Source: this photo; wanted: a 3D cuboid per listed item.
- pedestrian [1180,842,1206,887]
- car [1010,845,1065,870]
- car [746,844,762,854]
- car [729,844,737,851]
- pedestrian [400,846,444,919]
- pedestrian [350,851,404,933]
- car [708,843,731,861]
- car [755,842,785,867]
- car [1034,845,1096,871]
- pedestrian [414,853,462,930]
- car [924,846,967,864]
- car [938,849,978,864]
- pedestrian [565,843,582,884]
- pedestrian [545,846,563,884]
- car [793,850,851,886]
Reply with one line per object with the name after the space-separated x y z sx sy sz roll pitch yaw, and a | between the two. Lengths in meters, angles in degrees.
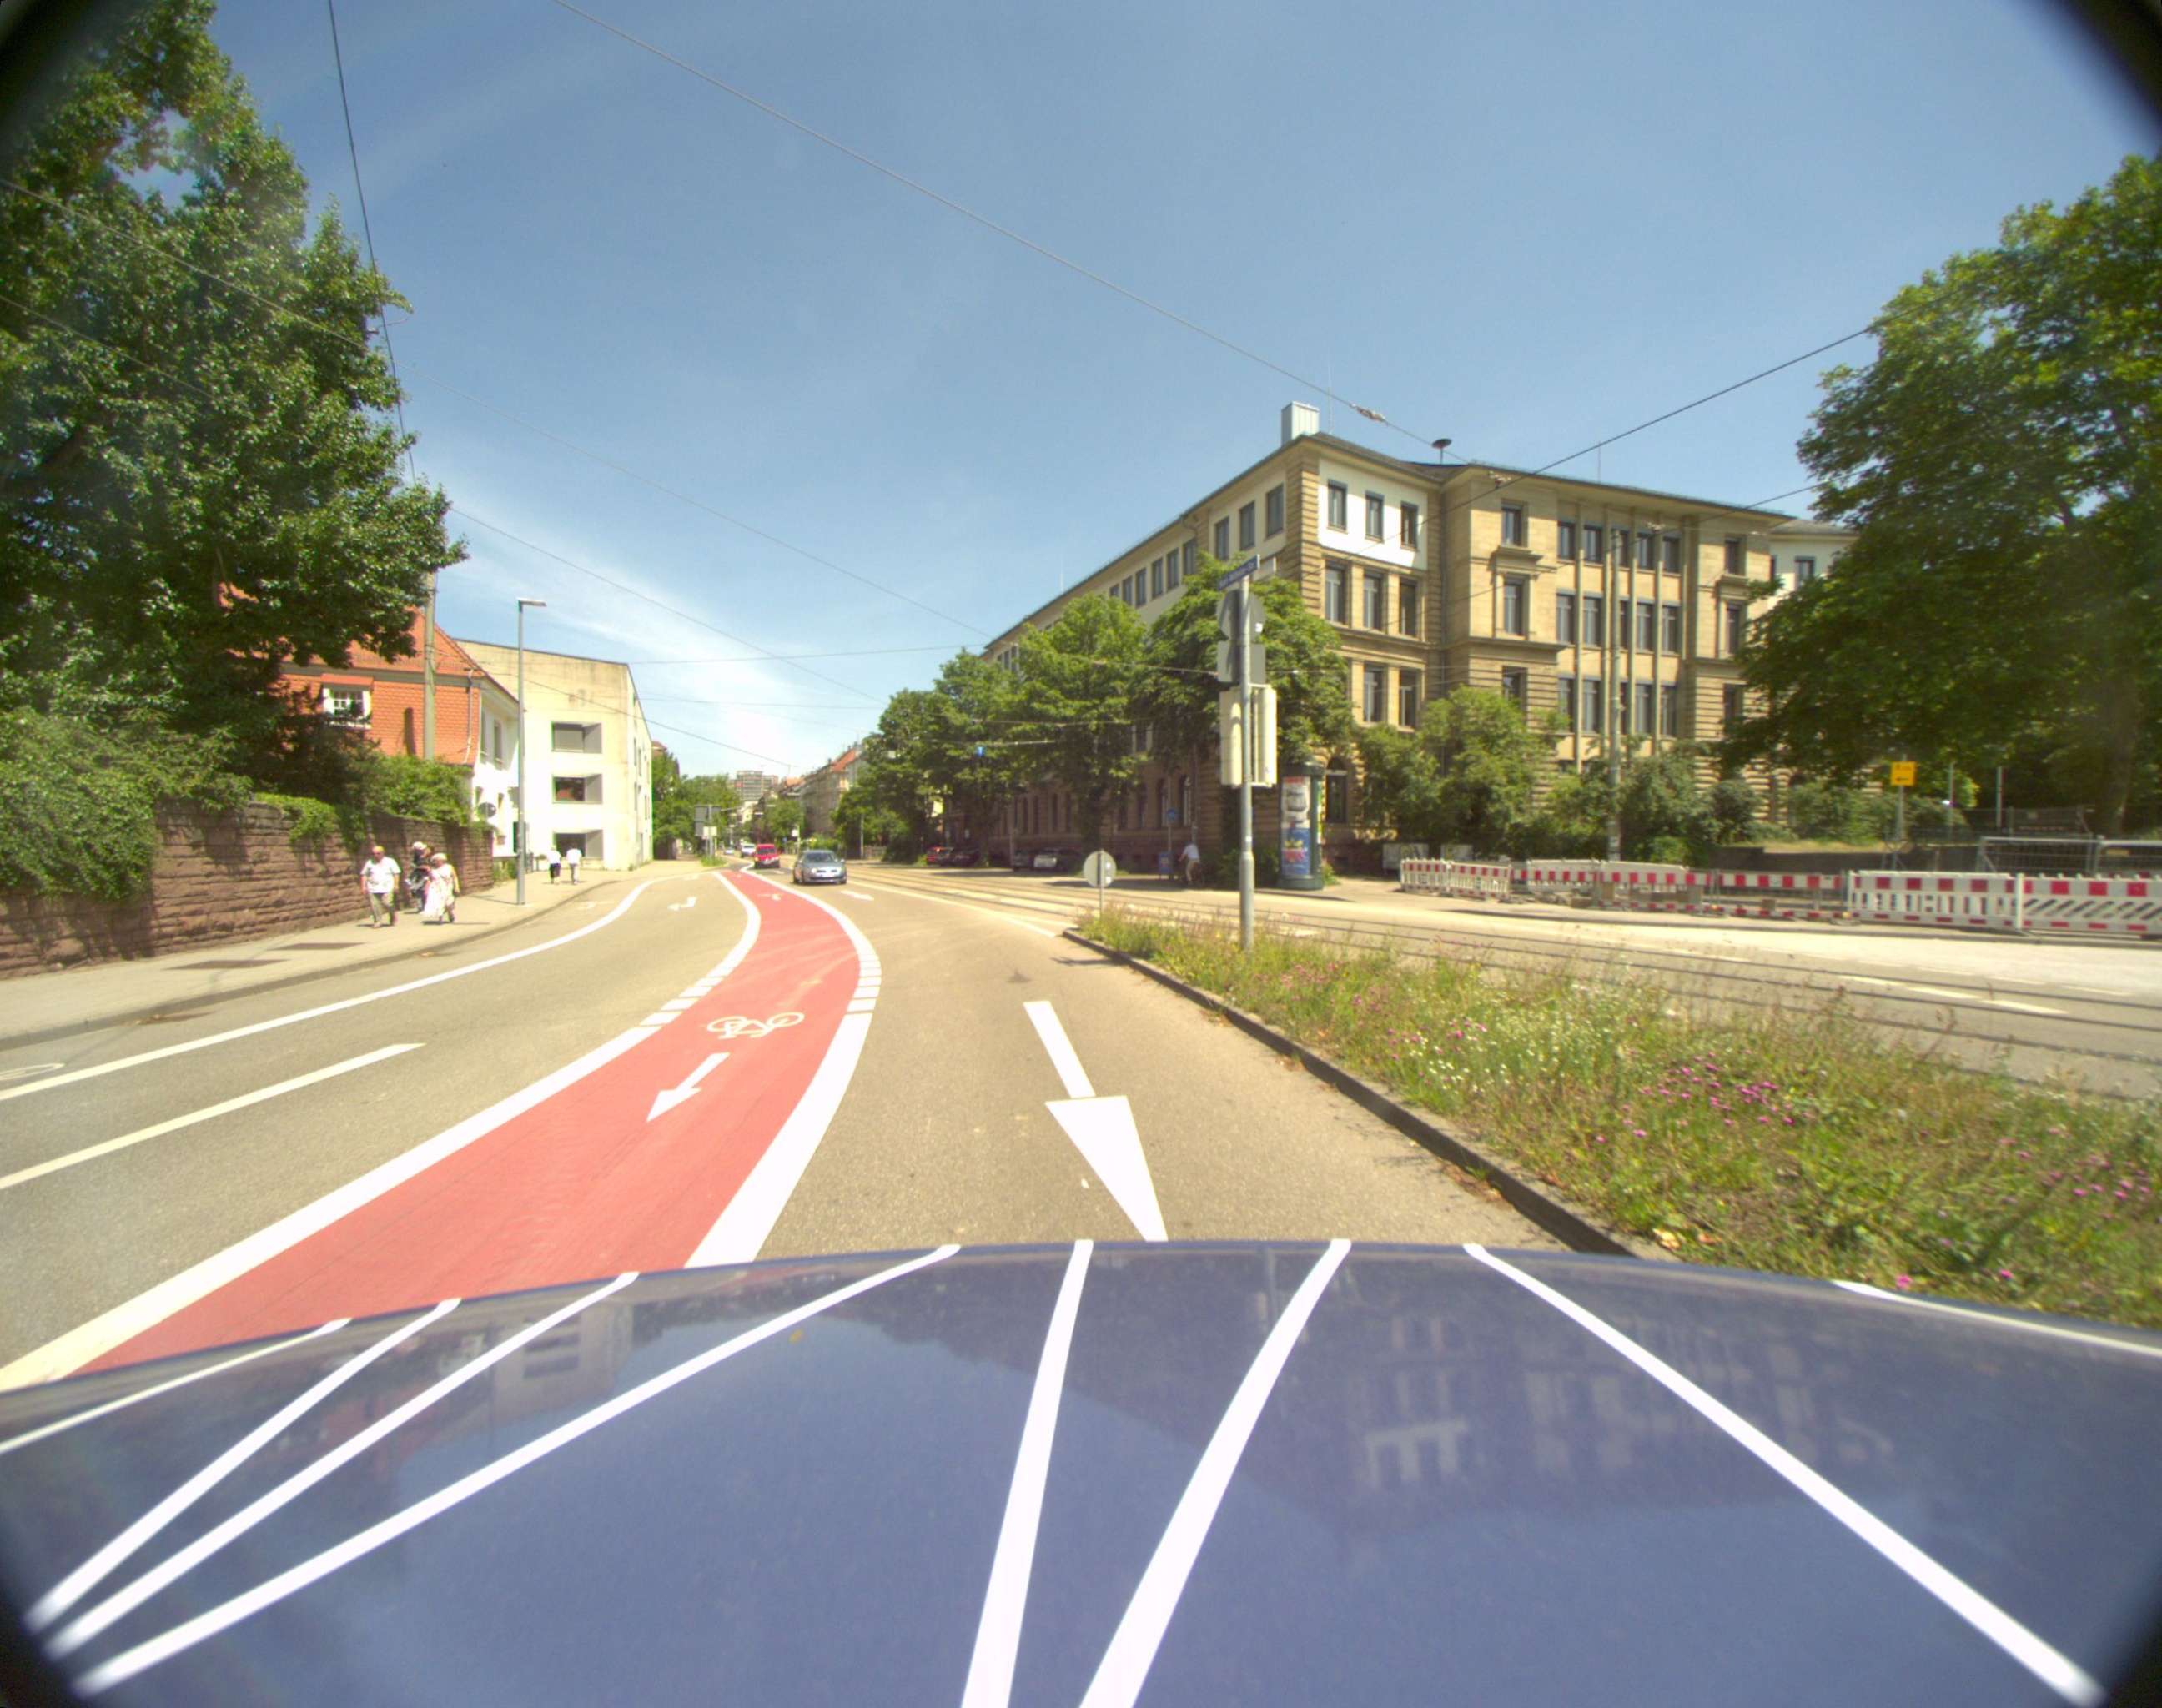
4.137 0.382 28.112 0.725 1.661 0.643 0 1 -22 | pedestrian
-2.733 0.234 48.200 3.156 1.454 1.567 -3 1 -45 | car
-44.087 -0.674 102.333 1.836 1.384 4.270 0 1 -24 | car
-67.708 -1.299 147.830 1.428 1.317 2.981 -3 1 -24 | car
-15.680 0.669 18.087 0.606 1.702 0.557 2 -1 -25 | pedestrian
-14.109 0.760 15.248 0.605 1.601 0.557 2 -1 -24 | pedestrian
-33.781 -0.206 70.909 1.821 1.698 3.991 0 1 -27 | car
-23.392 0.065 57.110 1.836 1.756 4.270 -3 1 -25 | car
-0.942 0.232 46.071 3.559 1.412 1.567 -3 1 -43 | car
-13.577 0.788 16.061 0.605 1.601 0.557 2 -1 -24 | pedestrian
-11.831 0.079 66.411 1.611 1.444 3.585 -2 1 35 | car
-10.153 0.206 62.769 2.995 1.092 1.277 -3 1 -45 | car
-21.359 0.412 31.996 0.490 1.702 0.520 2 -1 -25 | pedestrian
-22.009 0.464 31.740 0.490 1.596 0.557 2 -1 -25 | pedestrian
-11.160 0.540 32.606 1.836 1.406 3.985 -1 1 -26 | car
